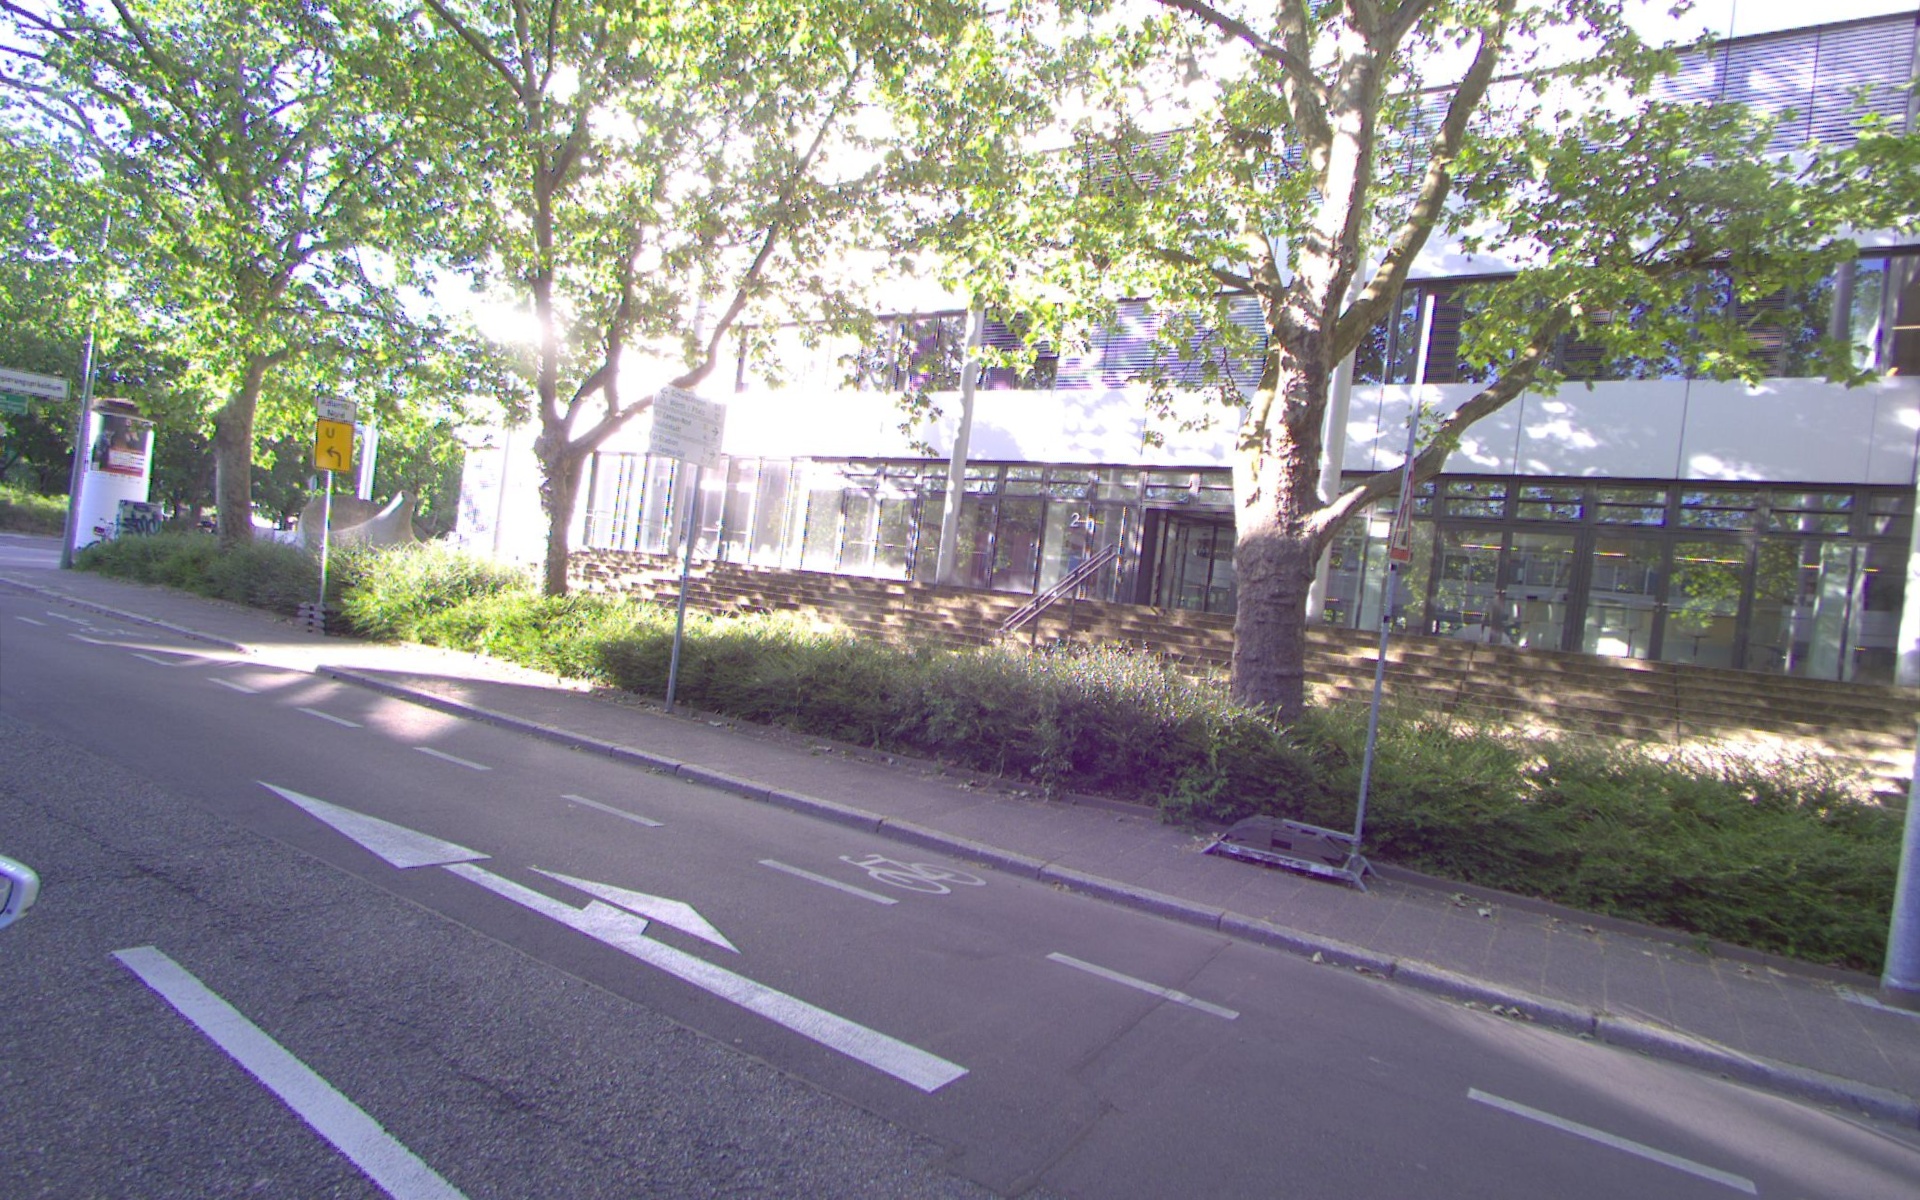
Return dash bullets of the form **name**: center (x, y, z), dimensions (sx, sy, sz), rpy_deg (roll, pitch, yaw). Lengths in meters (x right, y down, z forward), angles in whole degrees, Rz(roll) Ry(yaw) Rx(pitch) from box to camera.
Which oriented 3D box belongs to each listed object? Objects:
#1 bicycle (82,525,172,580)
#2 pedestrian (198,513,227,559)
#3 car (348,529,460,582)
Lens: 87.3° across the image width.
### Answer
- **bicycle**: center (-19.099, -1.085, 23.101), dimensions (0.529, 1.049, 1.418), rpy_deg (7, -1, 28)
- **pedestrian**: center (-31.244, -2.666, 42.034), dimensions (0.620, 1.805, 0.620), rpy_deg (7, 0, 34)
- **car**: center (-25.915, -2.048, 47.031), dimensions (1.969, 1.805, 3.998), rpy_deg (7, -1, 37)
